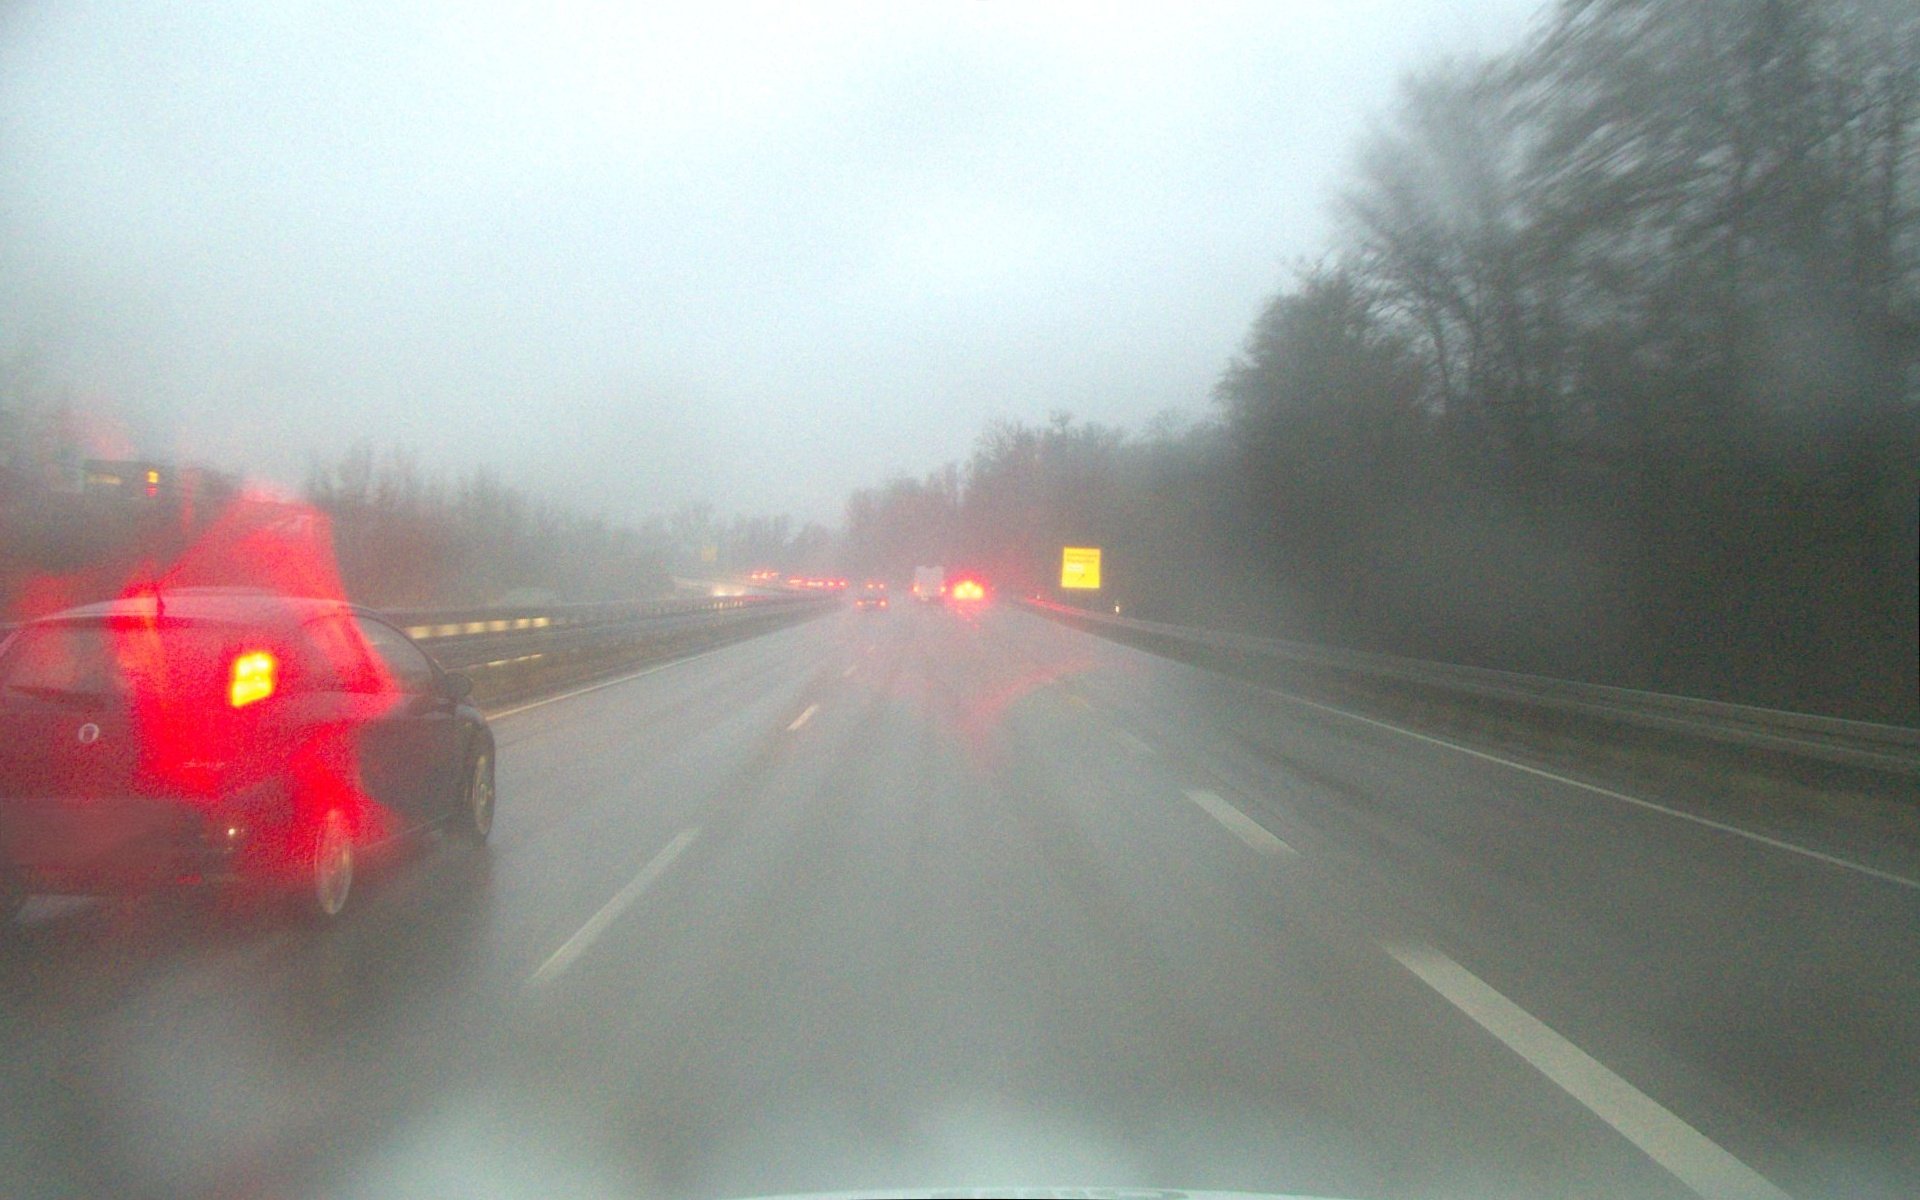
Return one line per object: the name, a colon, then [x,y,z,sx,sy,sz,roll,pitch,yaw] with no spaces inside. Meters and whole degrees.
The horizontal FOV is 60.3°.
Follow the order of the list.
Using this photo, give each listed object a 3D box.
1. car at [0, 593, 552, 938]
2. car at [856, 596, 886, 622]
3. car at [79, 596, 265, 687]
car: [-3.498,0.715,9.043,1.593,1.416,3.998,2,0,-2]
car: [-4.739,0.471,88.202,1.387,1.340,3.082,2,0,-1]
car: [-13.952,0.699,29.507,1.582,1.490,3.644,1,0,-1]
